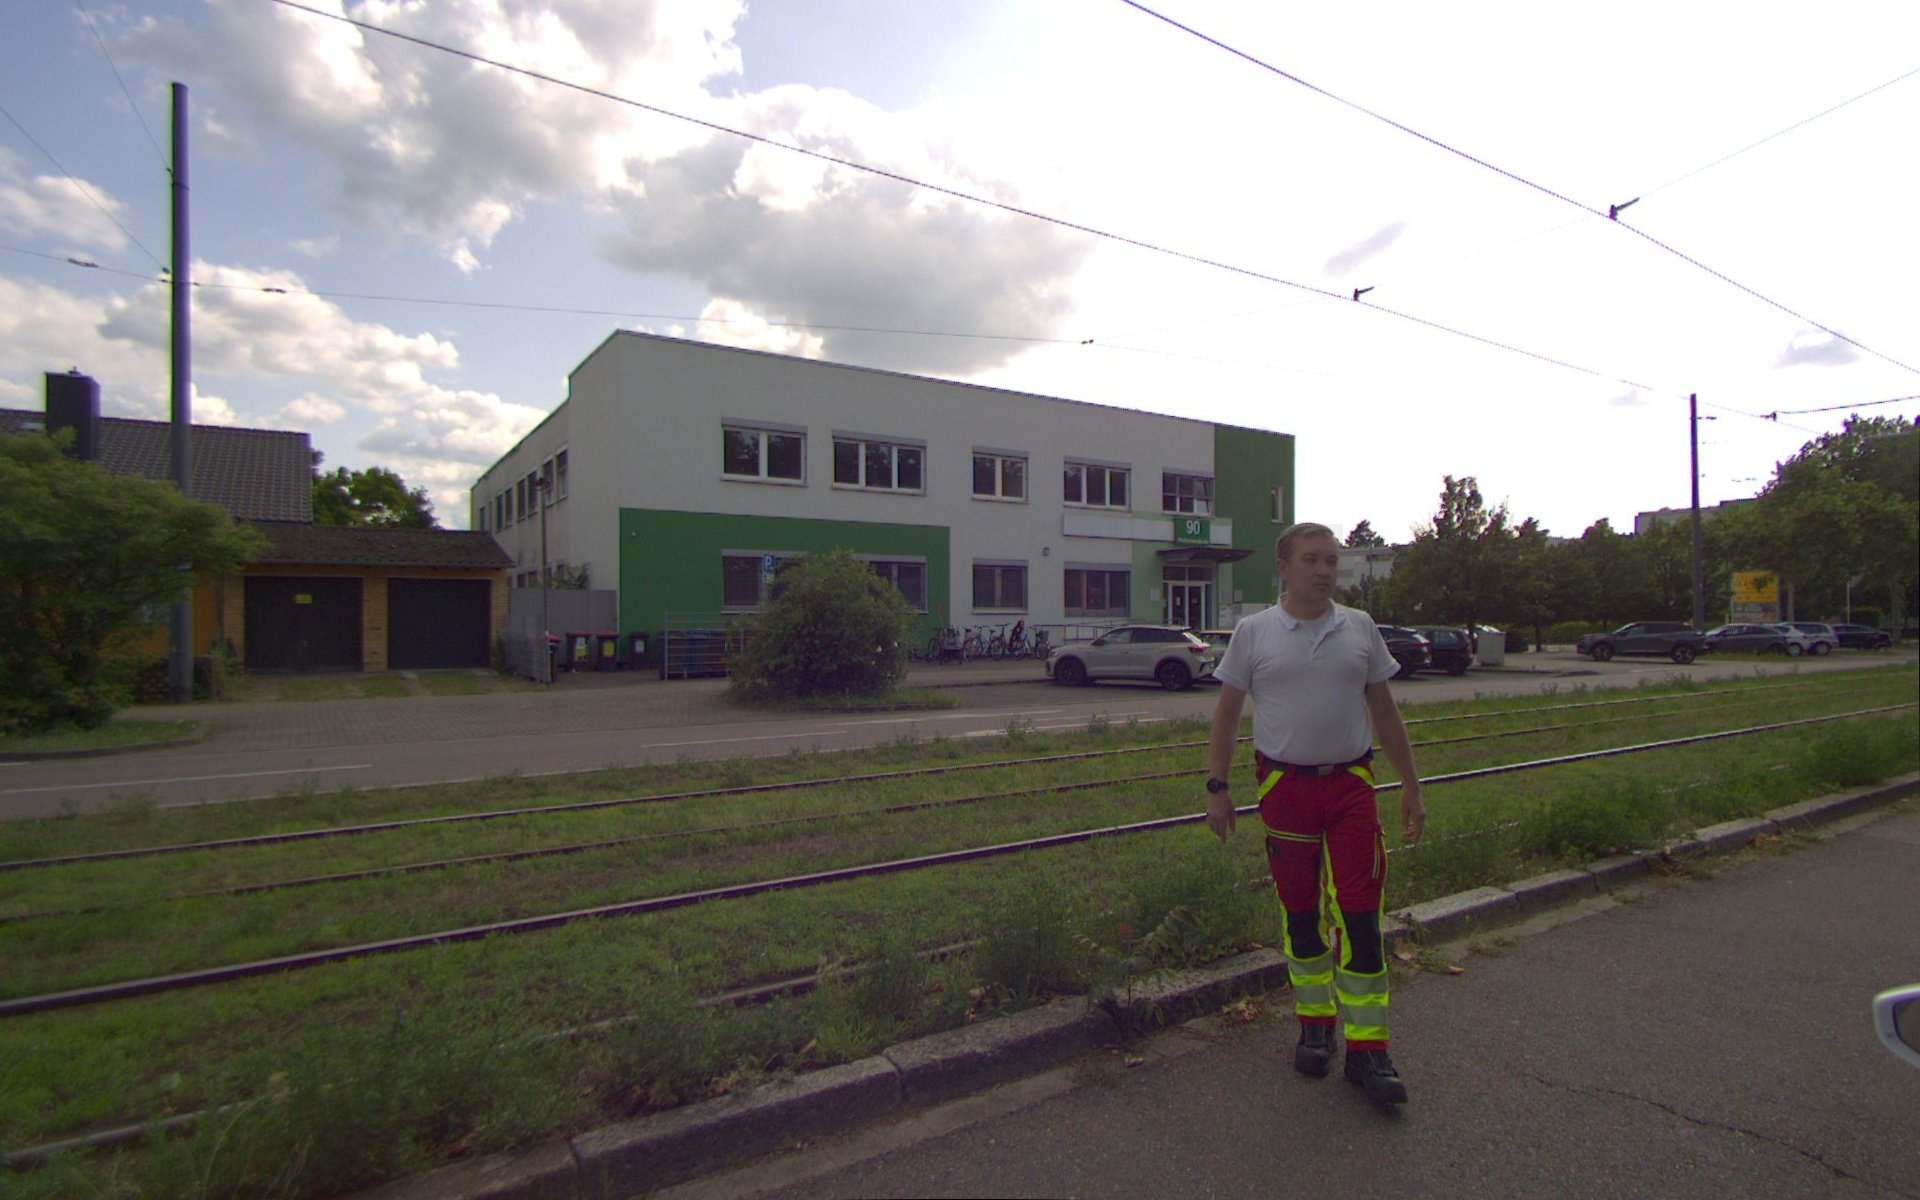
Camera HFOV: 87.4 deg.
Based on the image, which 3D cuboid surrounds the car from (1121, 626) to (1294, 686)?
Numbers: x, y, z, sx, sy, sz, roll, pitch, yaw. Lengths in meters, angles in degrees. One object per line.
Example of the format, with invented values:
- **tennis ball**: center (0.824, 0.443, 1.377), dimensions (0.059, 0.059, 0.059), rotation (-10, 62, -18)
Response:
- **car**: center (6.603, 1.460, 26.824), dimensions (4.158, 1.501, 1.880), rotation (-1, -2, 28)

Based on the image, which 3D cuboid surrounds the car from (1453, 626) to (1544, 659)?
- **car**: center (29.036, 2.256, 54.271), dimensions (1.756, 1.586, 3.968), rotation (2, 0, -30)

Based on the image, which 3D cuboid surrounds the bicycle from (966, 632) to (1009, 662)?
- **bicycle**: center (0.883, 1.537, 33.083), dimensions (0.453, 0.911, 1.847), rotation (1, 0, -32)

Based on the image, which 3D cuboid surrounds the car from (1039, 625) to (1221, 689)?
- **car**: center (4.250, 1.391, 25.115), dimensions (4.154, 1.501, 1.882), rotation (-1, -1, 23)

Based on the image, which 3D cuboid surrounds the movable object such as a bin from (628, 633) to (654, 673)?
- **movable object such as a bin**: center (-8.699, 1.435, 27.373), dimensions (0.558, 1.056, 0.565), rotation (-1, 1, -32)

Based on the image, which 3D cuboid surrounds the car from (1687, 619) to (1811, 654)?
- **car**: center (36.751, 1.697, 46.931), dimensions (4.153, 1.502, 1.883), rotation (1, -1, 22)

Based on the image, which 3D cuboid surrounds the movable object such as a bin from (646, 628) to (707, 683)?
- **movable object such as a bin**: center (-6.974, 1.341, 24.674), dimensions (1.241, 1.251, 1.001), rotation (-1, 1, -31)

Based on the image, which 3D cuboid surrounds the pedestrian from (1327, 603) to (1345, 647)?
- **pedestrian**: center (15.840, 1.045, 42.323), dimensions (0.504, 1.852, 0.542), rotation (0, -1, -35)

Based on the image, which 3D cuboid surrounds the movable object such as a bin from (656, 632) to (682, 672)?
- **movable object such as a bin**: center (-8.049, 1.426, 27.764), dimensions (0.558, 1.056, 0.565), rotation (-1, 1, -32)

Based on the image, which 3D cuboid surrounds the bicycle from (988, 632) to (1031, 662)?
- **bicycle**: center (1.631, 1.559, 33.566), dimensions (0.453, 0.911, 1.847), rotation (1, 0, -32)

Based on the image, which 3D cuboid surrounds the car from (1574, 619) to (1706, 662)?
- **car**: center (26.422, 1.542, 39.183), dimensions (4.162, 1.502, 1.878), rotation (0, -1, 33)

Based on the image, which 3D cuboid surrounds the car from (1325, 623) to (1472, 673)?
- **car**: center (13.963, 1.496, 32.038), dimensions (4.158, 1.501, 1.880), rotation (-1, -2, 28)

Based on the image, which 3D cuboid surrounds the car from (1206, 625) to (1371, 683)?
- **car**: center (9.231, 1.483, 28.300), dimensions (4.158, 1.501, 1.880), rotation (-1, -2, 28)

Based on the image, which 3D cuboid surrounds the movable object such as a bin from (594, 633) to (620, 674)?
- **movable object such as a bin**: center (-9.441, 1.430, 26.855), dimensions (0.558, 1.056, 0.565), rotation (-1, 1, -32)

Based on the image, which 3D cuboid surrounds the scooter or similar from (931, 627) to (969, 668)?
- **scooter or similar**: center (-0.311, 1.419, 30.364), dimensions (1.073, 1.171, 1.306), rotation (2, 0, -4)

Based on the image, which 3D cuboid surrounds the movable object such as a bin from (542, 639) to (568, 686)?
- **movable object such as a bin**: center (-9.528, 1.454, 23.606), dimensions (0.476, 1.056, 0.501), rotation (-1, 1, -33)

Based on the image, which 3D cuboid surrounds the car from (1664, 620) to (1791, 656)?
- **car**: center (34.456, 1.686, 45.245), dimensions (4.153, 1.502, 1.883), rotation (1, -1, 22)

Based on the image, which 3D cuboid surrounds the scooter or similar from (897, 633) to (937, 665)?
- **scooter or similar**: center (-1.376, 1.525, 31.711), dimensions (0.453, 0.911, 1.726), rotation (1, 0, -32)

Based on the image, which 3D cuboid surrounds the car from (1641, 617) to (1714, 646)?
- **car**: center (48.034, 2.096, 67.371), dimensions (1.961, 1.773, 3.999), rotation (1, 0, -1)

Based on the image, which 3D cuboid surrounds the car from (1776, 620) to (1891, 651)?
- **car**: center (46.062, 1.868, 53.047), dimensions (4.151, 1.502, 1.884), rotation (1, 0, 18)

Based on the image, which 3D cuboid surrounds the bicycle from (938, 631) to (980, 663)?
- **bicycle**: center (-0.048, 1.508, 32.436), dimensions (0.453, 0.911, 1.847), rotation (1, 0, -32)

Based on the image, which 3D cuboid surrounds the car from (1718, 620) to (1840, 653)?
- **car**: center (39.389, 1.733, 48.415), dimensions (4.153, 1.502, 1.883), rotation (1, -1, 22)

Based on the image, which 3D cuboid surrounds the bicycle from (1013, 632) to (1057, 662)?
- **bicycle**: center (2.529, 1.578, 34.102), dimensions (0.453, 0.911, 1.847), rotation (1, 0, -32)

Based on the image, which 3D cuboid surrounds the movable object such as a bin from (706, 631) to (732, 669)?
- **movable object such as a bin**: center (-6.841, 1.411, 28.503), dimensions (0.558, 1.056, 0.565), rotation (-1, 1, -32)

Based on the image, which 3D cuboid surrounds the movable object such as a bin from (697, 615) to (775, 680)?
- **movable object such as a bin**: center (-5.680, 1.185, 25.469), dimensions (1.692, 1.540, 1.001), rotation (0, 1, -31)

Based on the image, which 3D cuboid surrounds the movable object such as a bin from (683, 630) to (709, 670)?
- **movable object such as a bin**: center (-7.397, 1.394, 28.172), dimensions (0.558, 1.056, 0.565), rotation (-1, 1, -32)

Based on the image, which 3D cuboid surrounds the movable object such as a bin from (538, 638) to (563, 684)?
- **movable object such as a bin**: center (-9.820, 1.448, 24.080), dimensions (0.474, 1.056, 0.490), rotation (-1, 1, -33)

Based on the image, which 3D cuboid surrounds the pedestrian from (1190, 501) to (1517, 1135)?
- **pedestrian**: center (1.172, 0.590, 3.190), dimensions (0.789, 1.709, 0.851), rotation (0, 0, 9)

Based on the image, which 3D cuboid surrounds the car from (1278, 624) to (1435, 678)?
- **car**: center (11.815, 1.489, 29.934), dimensions (4.158, 1.501, 1.880), rotation (-1, -2, 28)

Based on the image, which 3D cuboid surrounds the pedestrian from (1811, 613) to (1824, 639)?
- **pedestrian**: center (55.503, 1.693, 65.019), dimensions (0.597, 1.699, 0.463), rotation (0, -1, -35)

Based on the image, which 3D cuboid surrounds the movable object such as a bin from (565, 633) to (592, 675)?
- **movable object such as a bin**: center (-10.039, 1.403, 26.438), dimensions (0.558, 1.056, 0.565), rotation (-1, 1, -32)
